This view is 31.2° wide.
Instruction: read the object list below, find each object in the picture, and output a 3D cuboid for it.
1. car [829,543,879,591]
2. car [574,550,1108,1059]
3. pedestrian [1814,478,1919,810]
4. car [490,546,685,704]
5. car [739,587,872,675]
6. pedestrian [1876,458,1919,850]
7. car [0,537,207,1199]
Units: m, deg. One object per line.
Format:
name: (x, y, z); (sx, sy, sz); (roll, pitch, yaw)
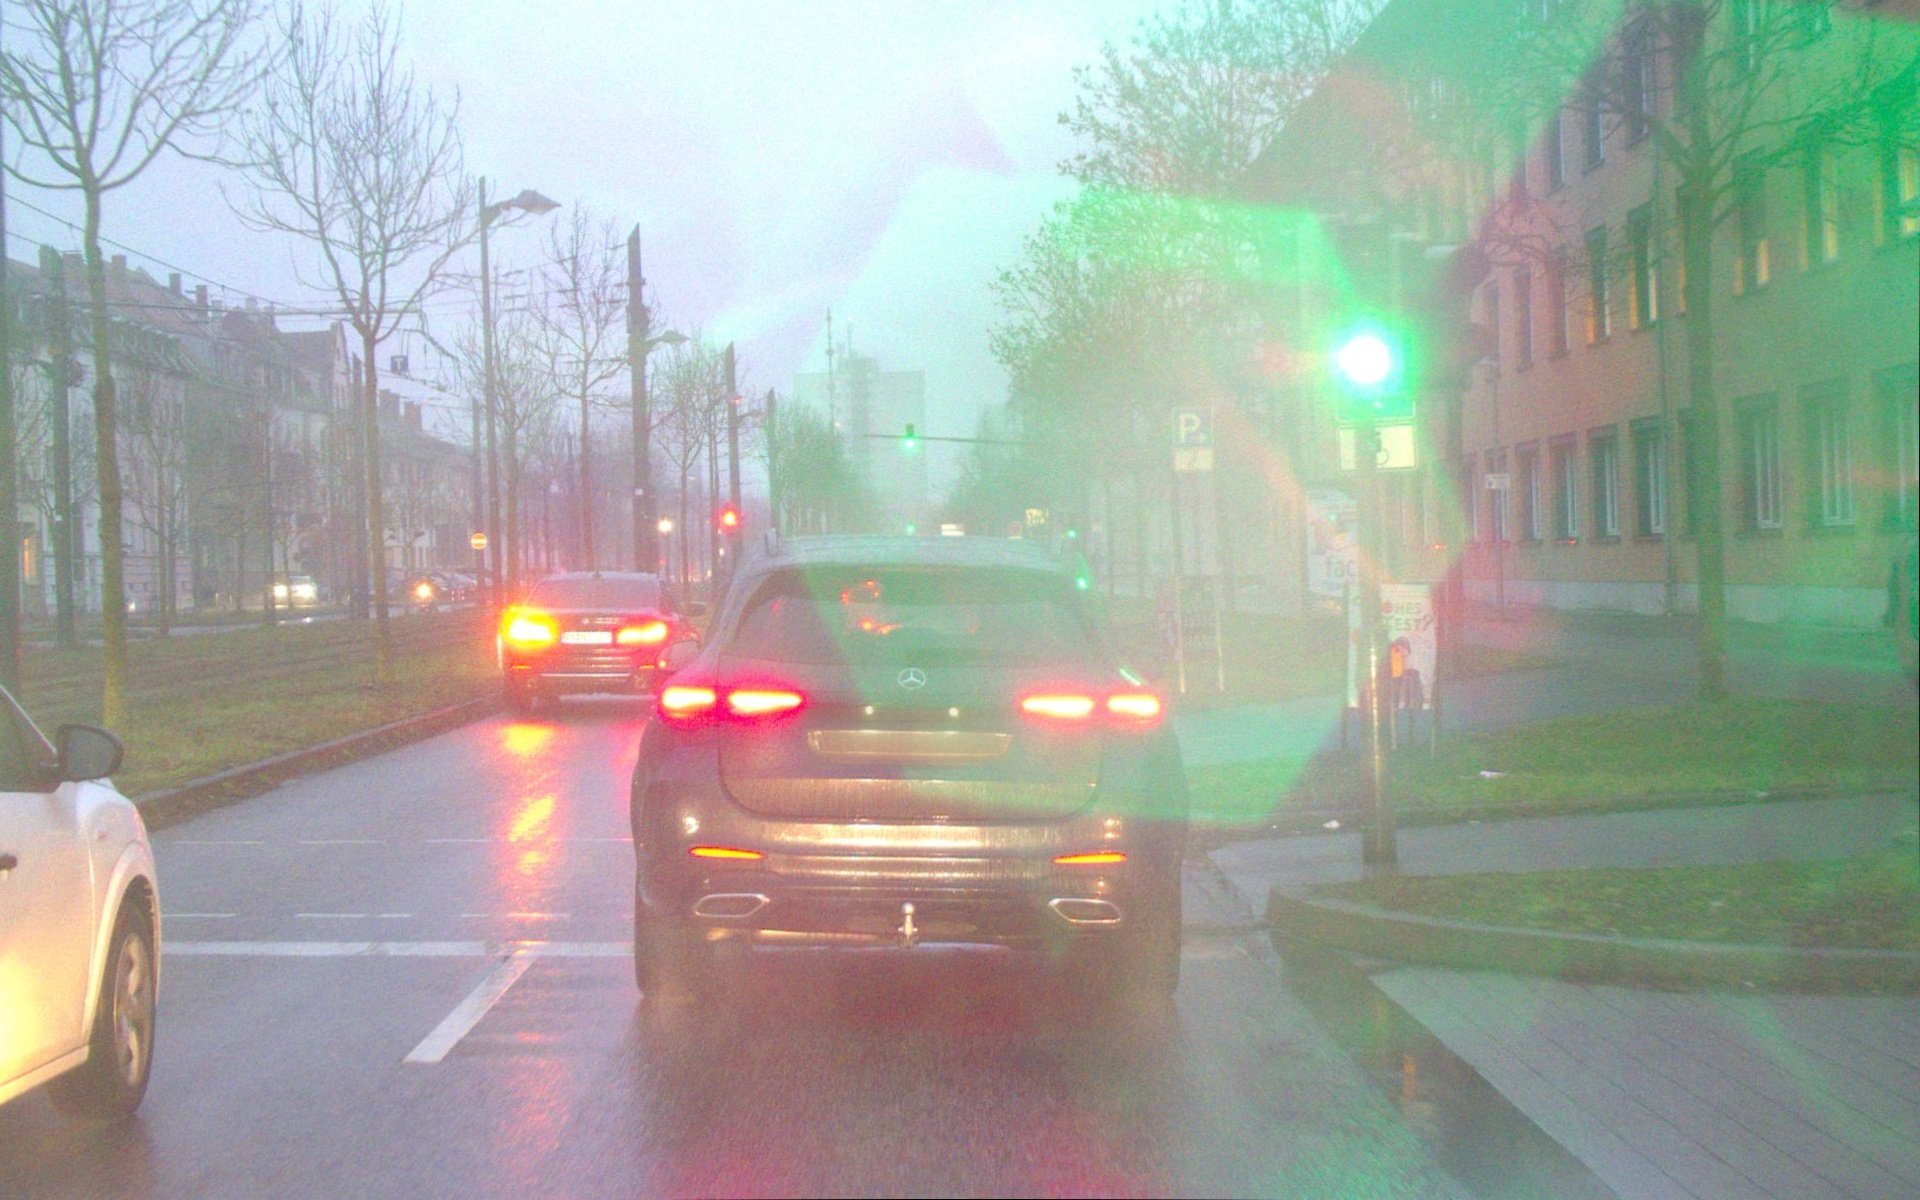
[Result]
car: (-4.458, -1.395, 144.239); (1.993, 1.908, 4.000); (-2, 1, -2)
car: (-0.389, 0.627, 12.891); (1.672, 1.594, 4.054); (-1, 0, 0)
pedestrian: (5.026, 0.224, 18.394); (0.504, 1.736, 0.658); (-3, 1, -33)
car: (-3.951, 0.237, 36.980); (1.672, 1.594, 4.054); (-1, 0, 0)
car: (-2.526, 0.491, 56.850); (1.993, 1.294, 3.479); (-2, 1, 0)
pedestrian: (4.710, 0.243, 15.965); (0.504, 1.818, 0.658); (-3, 1, -26)
car: (-3.005, 0.662, 7.898); (1.672, 1.594, 4.054); (-1, 0, 0)
